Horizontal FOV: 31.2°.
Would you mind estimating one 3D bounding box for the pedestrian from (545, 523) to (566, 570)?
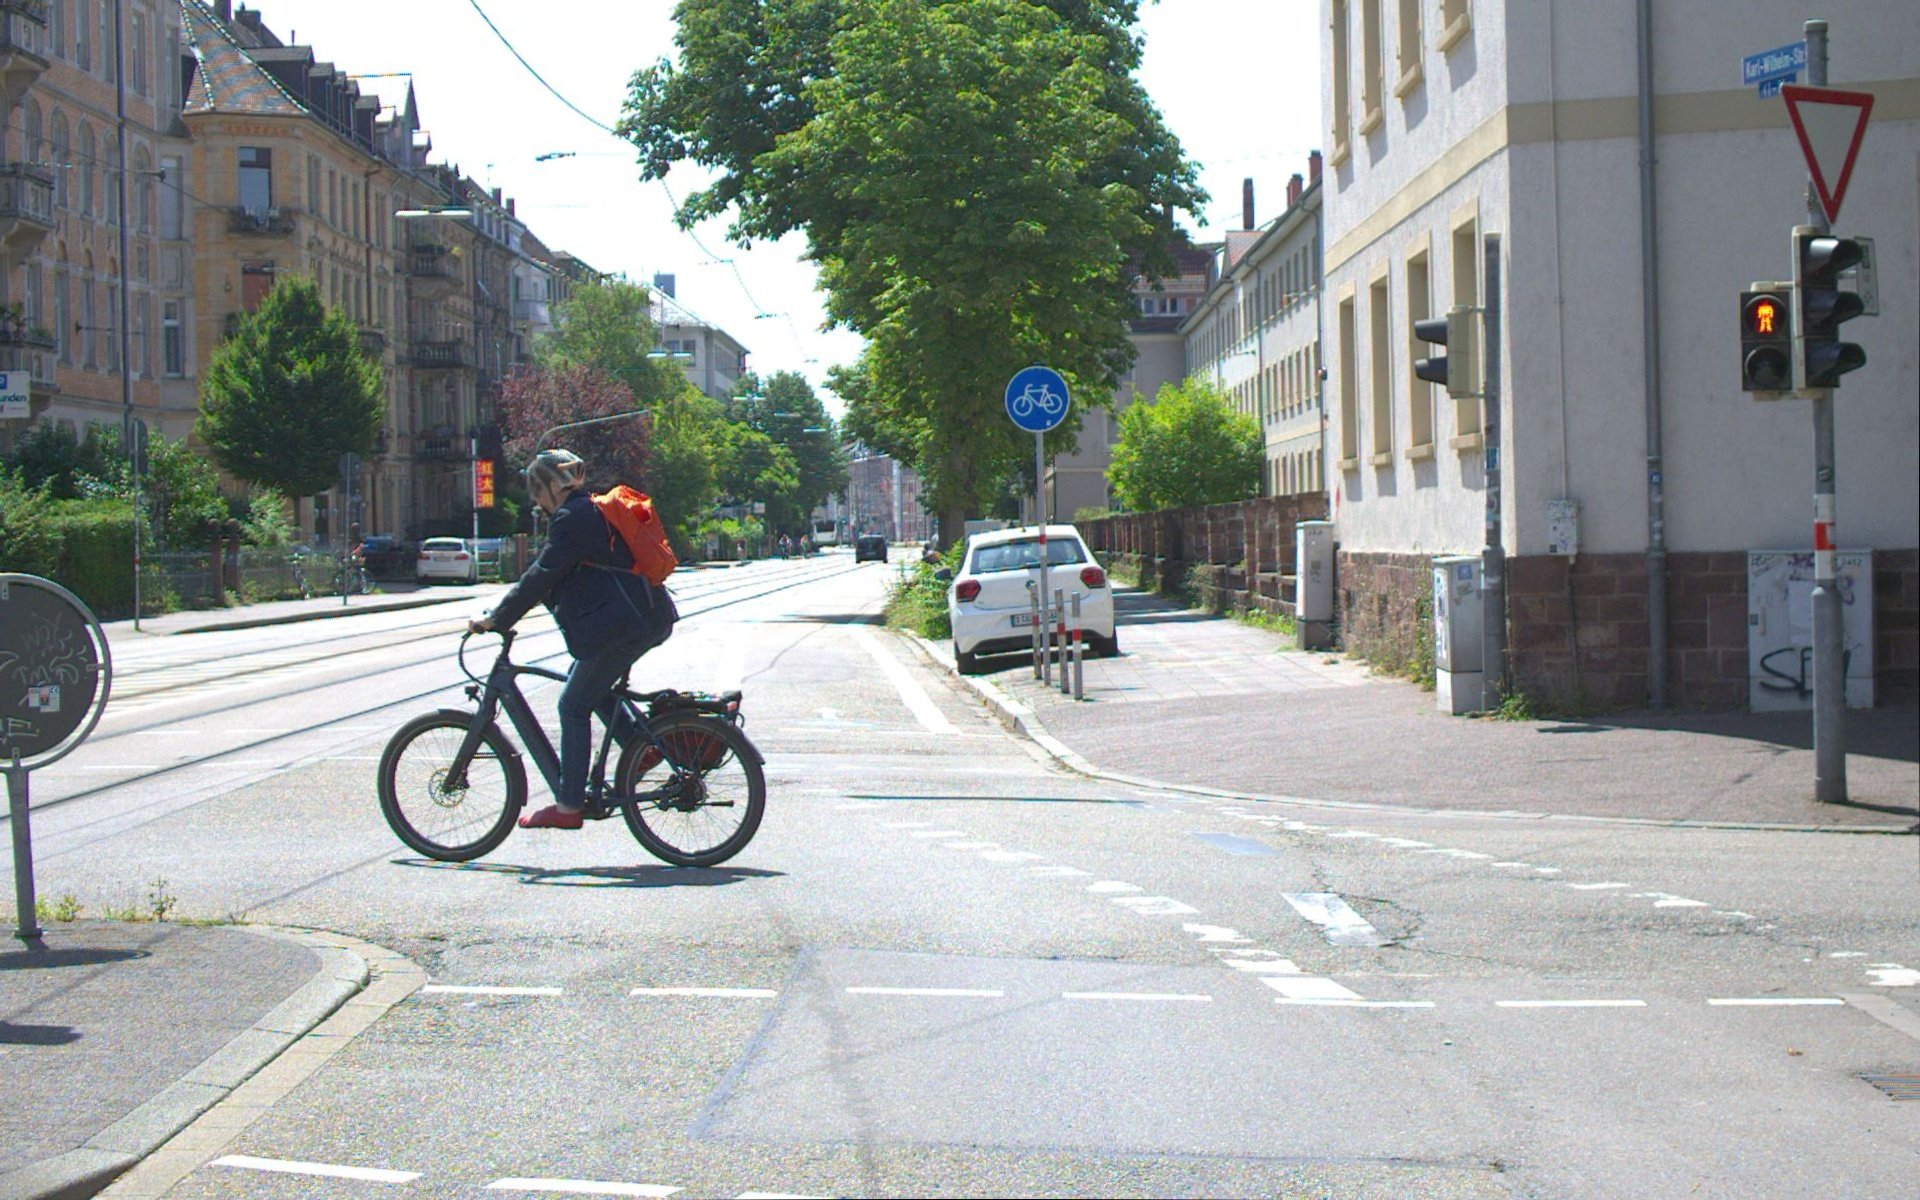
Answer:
[{"bbox_3d":[-14.944,-1.973,127.051,0.678,1.721,0.677,0,1,-1],"label":"pedestrian"}]

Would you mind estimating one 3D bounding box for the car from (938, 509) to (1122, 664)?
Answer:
[{"bbox_3d":[0.706,-0.170,37.211,1.747,1.467,3.938,-4,1,-1],"label":"car"}]

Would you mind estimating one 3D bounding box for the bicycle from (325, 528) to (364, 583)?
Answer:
[{"bbox_3d":[-15.731,-1.151,87.945,0.577,1.383,2.501,0,1,-1],"label":"bicycle"}]

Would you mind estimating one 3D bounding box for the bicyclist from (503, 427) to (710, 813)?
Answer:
[{"bbox_3d":[-1.539,0.080,15.004,0.694,1.640,0.579,0,1,25],"label":"bicyclist"}]

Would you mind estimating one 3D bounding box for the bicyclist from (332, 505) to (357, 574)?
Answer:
[{"bbox_3d":[-15.730,-1.552,87.815,0.542,1.757,0.498,0,1,-1],"label":"bicyclist"}]

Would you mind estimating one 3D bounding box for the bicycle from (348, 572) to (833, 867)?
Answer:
[{"bbox_3d":[-1.627,0.497,15.049,2.083,1.232,0.580,0,1,23],"label":"bicycle"}]

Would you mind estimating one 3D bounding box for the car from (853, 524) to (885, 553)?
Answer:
[{"bbox_3d":[-4.746,-3.230,179.921,1.525,1.439,3.365,-2,1,0],"label":"car"}]

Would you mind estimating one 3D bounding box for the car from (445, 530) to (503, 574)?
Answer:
[{"bbox_3d":[-17.453,-1.729,123.648,1.628,1.467,3.564,-4,1,-3],"label":"car"}]

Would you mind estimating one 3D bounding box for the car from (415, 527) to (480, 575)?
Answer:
[{"bbox_3d":[-17.203,-1.632,115.584,1.684,1.467,3.939,-4,1,-3],"label":"car"}]
